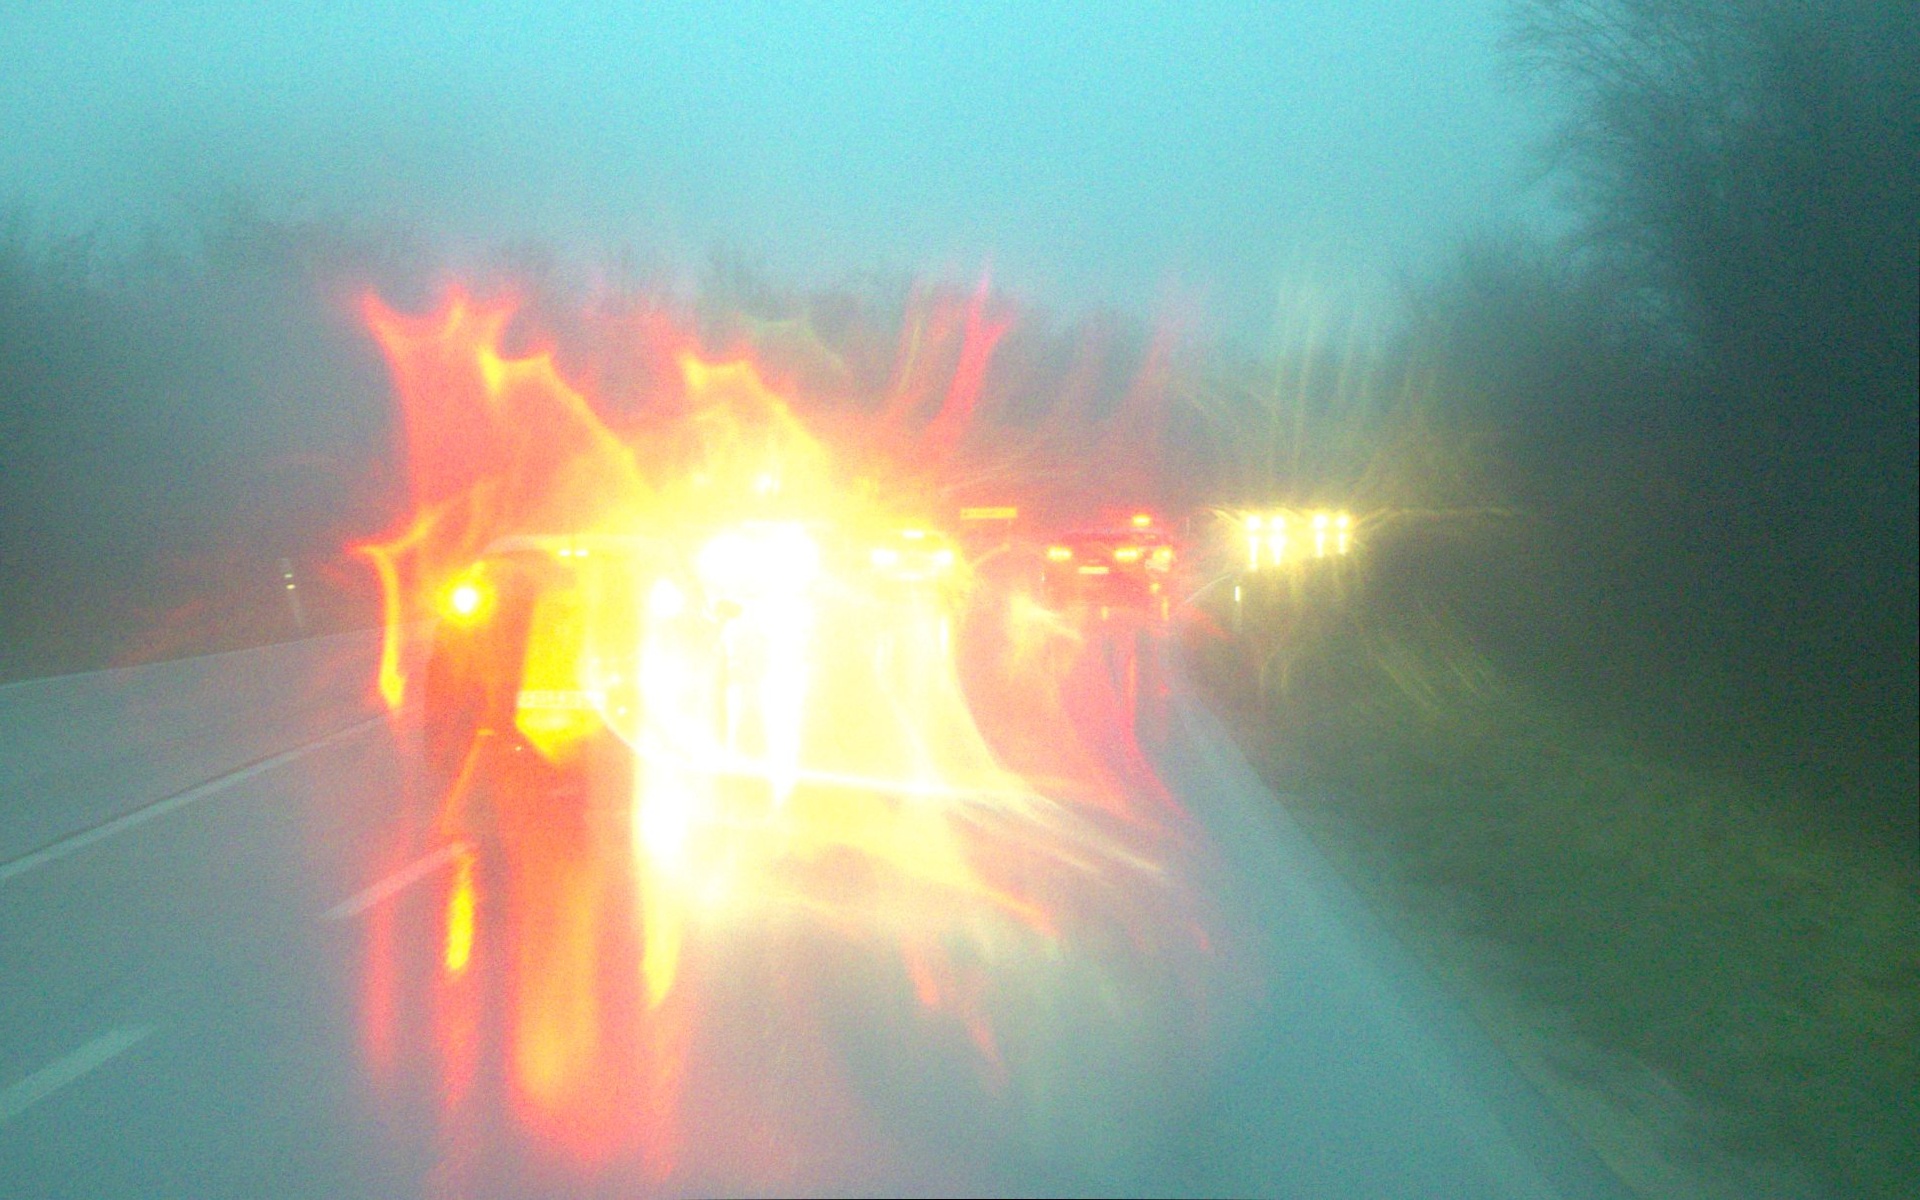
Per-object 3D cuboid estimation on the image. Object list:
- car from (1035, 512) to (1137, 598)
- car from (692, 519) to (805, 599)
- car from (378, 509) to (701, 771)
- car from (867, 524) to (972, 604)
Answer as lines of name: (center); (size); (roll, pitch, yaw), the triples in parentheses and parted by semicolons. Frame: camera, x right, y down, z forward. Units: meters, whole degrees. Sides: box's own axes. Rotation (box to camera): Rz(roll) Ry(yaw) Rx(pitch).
car: (2.174, -0.797, 59.159); (1.679, 1.385, 4.098); (0, 2, 2)
car: (-4.588, -0.906, 75.214); (1.993, 1.643, 4.722); (1, 1, 2)
car: (-2.541, 0.173, 21.571); (1.632, 1.416, 4.172); (2, 1, -2)
car: (-0.823, -0.785, 72.571); (2.005, 1.550, 4.517); (2, 2, 2)
